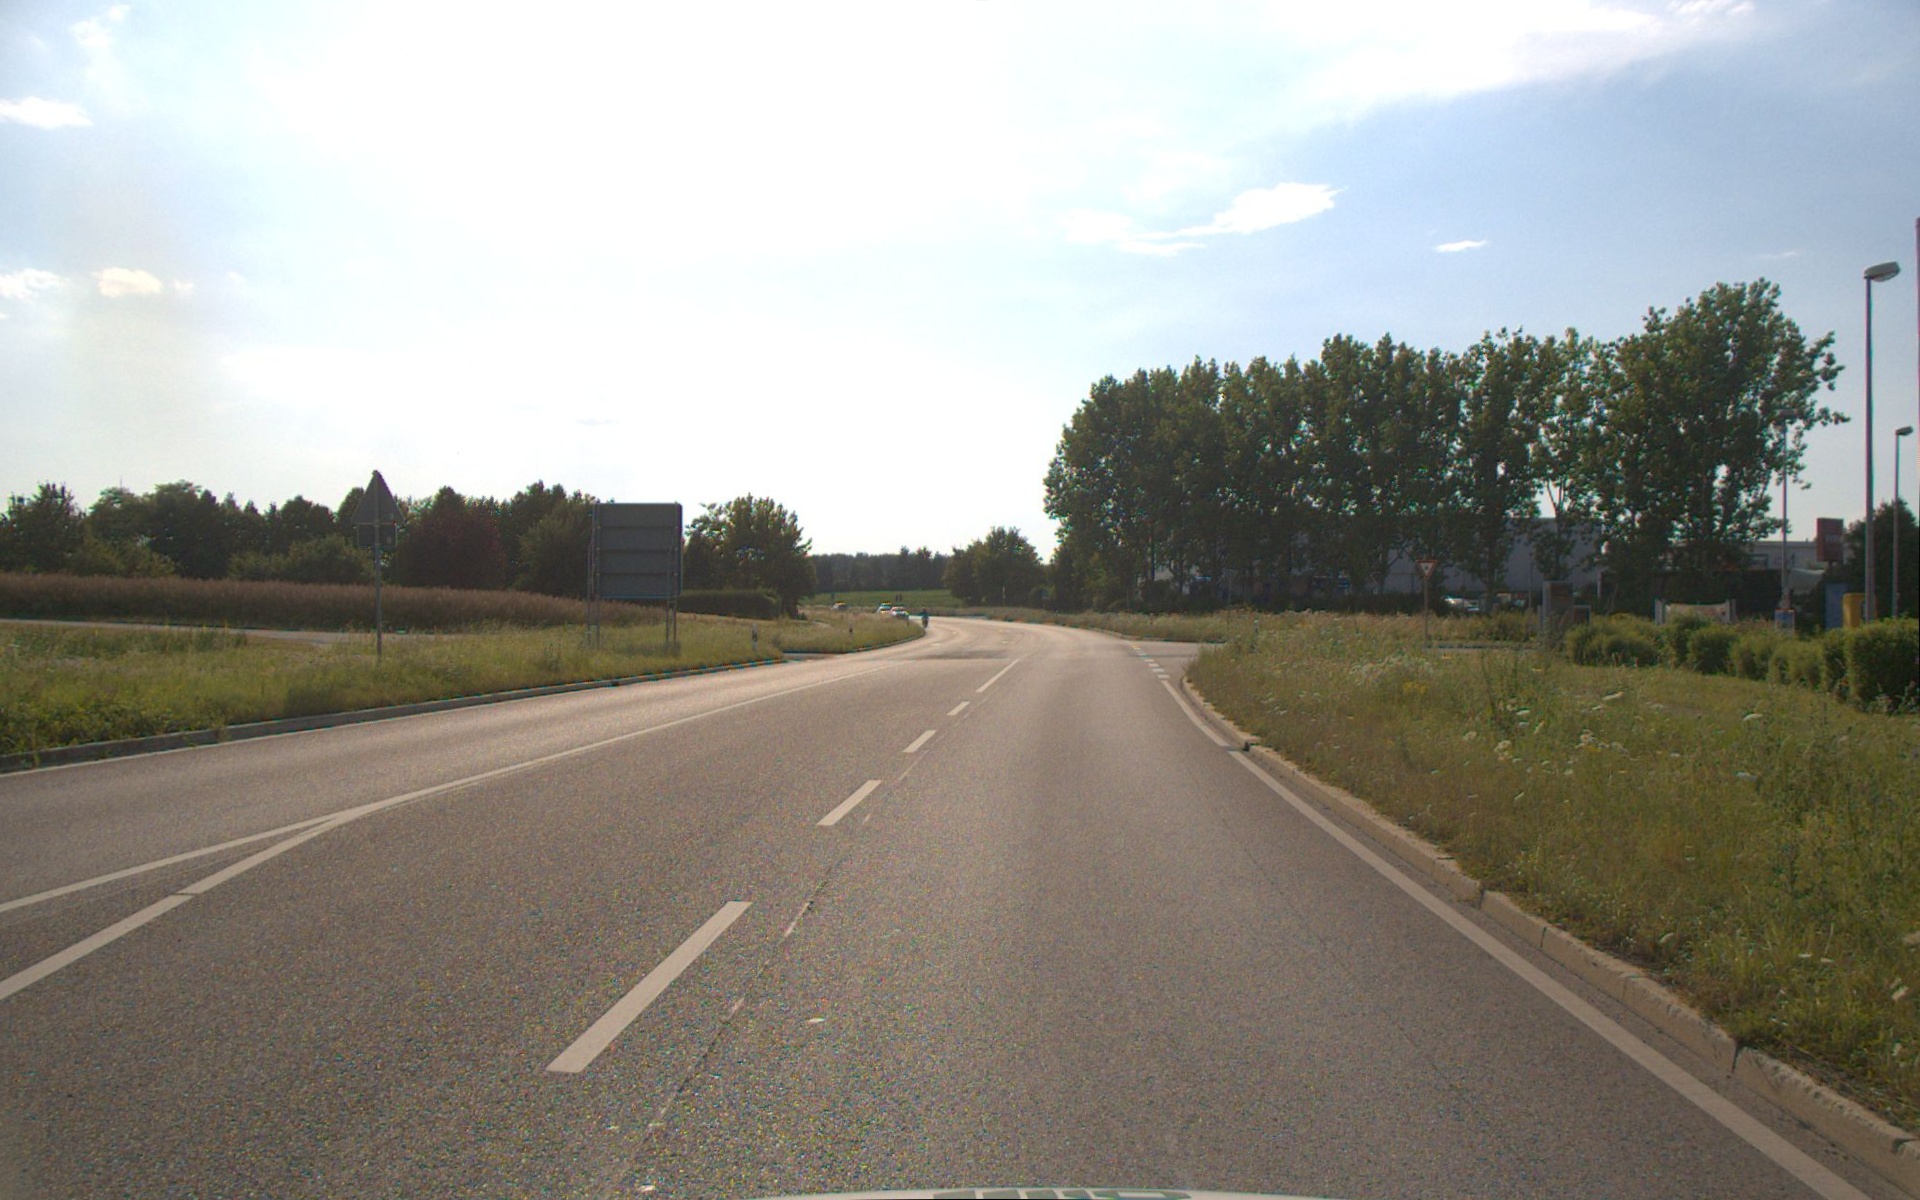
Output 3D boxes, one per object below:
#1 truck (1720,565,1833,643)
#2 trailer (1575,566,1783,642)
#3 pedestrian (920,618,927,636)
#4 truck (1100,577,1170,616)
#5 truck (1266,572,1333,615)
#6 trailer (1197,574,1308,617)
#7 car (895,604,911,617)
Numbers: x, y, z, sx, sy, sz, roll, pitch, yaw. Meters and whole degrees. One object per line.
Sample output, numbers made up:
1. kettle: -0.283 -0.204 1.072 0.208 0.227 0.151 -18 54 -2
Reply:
1. truck: 43.434 0.221 88.131 2.215 3.984 5.078 3 -1 -25
2. trailer: 40.888 0.244 94.958 2.210 3.984 13.644 3 -1 -19
3. pedestrian: -3.160 2.302 143.373 0.554 1.531 0.865 3 -1 1
4. truck: 16.328 -0.297 154.893 2.474 3.435 9.628 3 -1 -20
5. truck: 27.250 -0.479 132.899 2.584 3.217 5.670 3 -2 -22
6. trailer: 24.530 -0.296 139.801 2.646 3.197 13.180 3 -3 -22
7. car: -6.126 1.106 176.876 1.650 1.372 3.999 -1 0 -1
